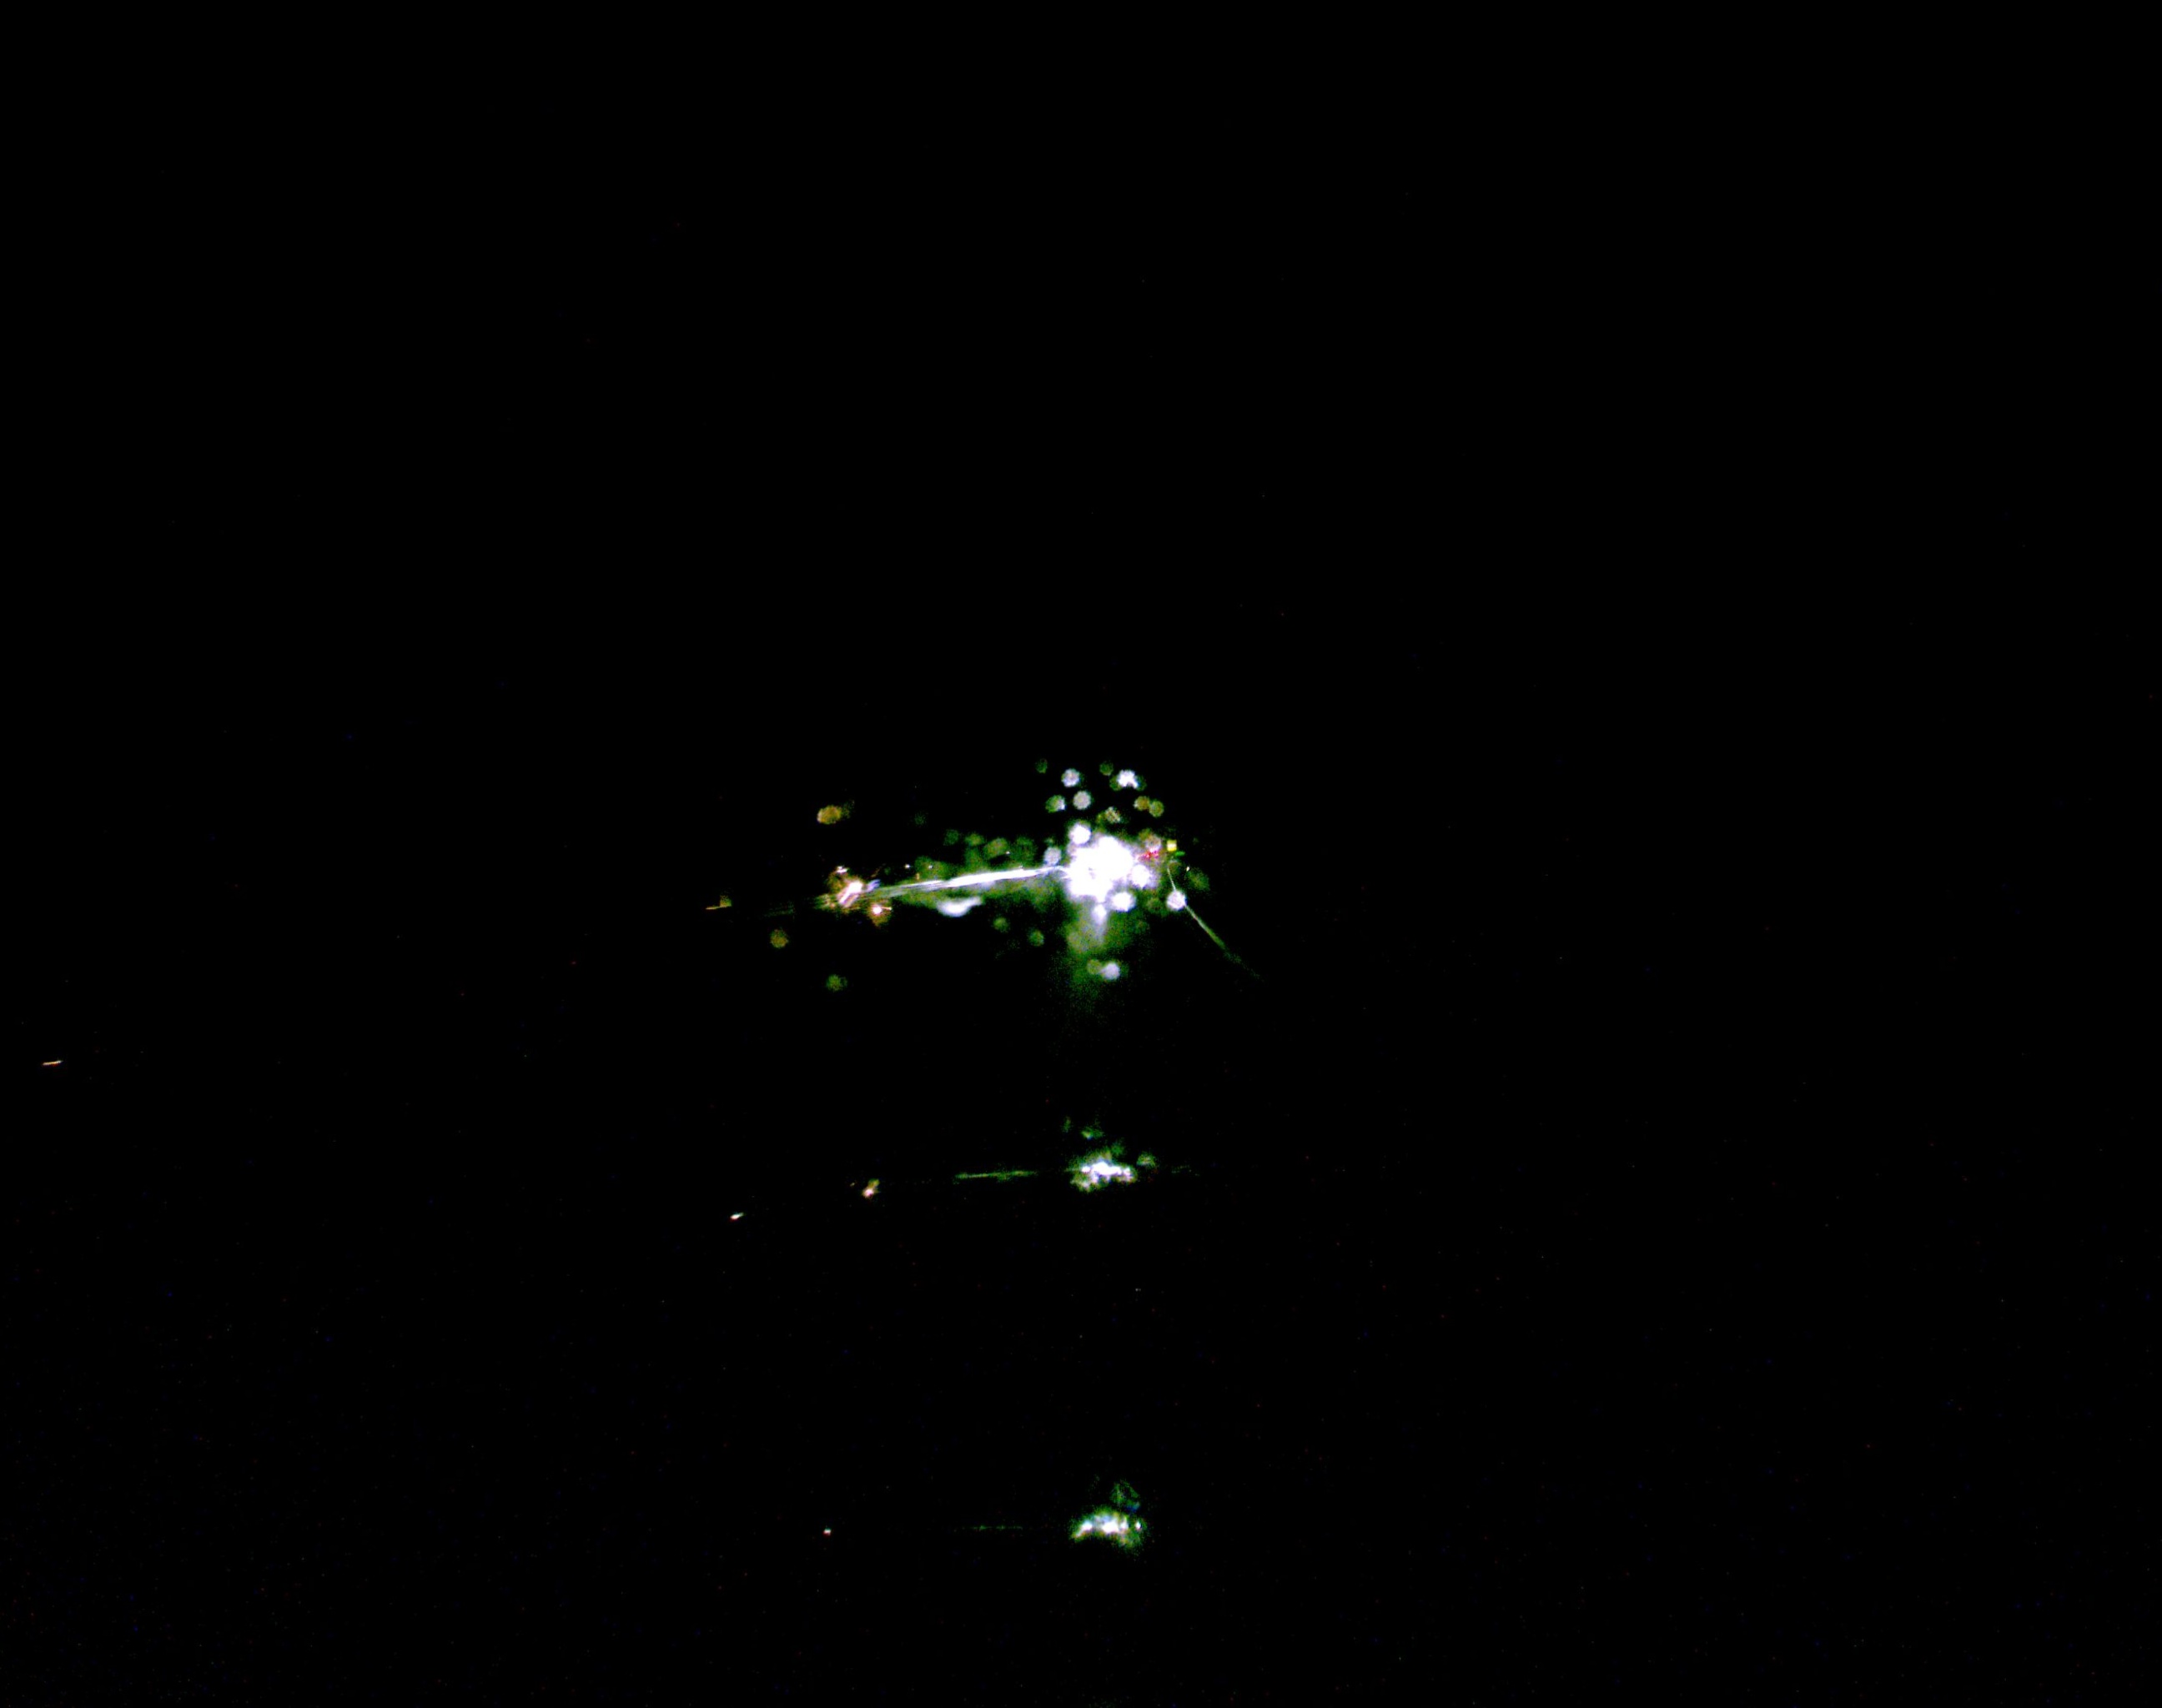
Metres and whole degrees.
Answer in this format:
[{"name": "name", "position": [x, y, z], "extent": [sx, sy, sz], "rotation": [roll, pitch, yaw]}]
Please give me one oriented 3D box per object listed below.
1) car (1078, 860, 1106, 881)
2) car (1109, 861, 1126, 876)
[{"name": "car", "position": [0.817, 1.123, 57.243], "extent": [1.732, 1.402, 3.865], "rotation": [-1, 0, 4]}, {"name": "car", "position": [4.382, 1.682, 97.000], "extent": [1.772, 1.667, 4.479], "rotation": [-1, 0, 6]}]
